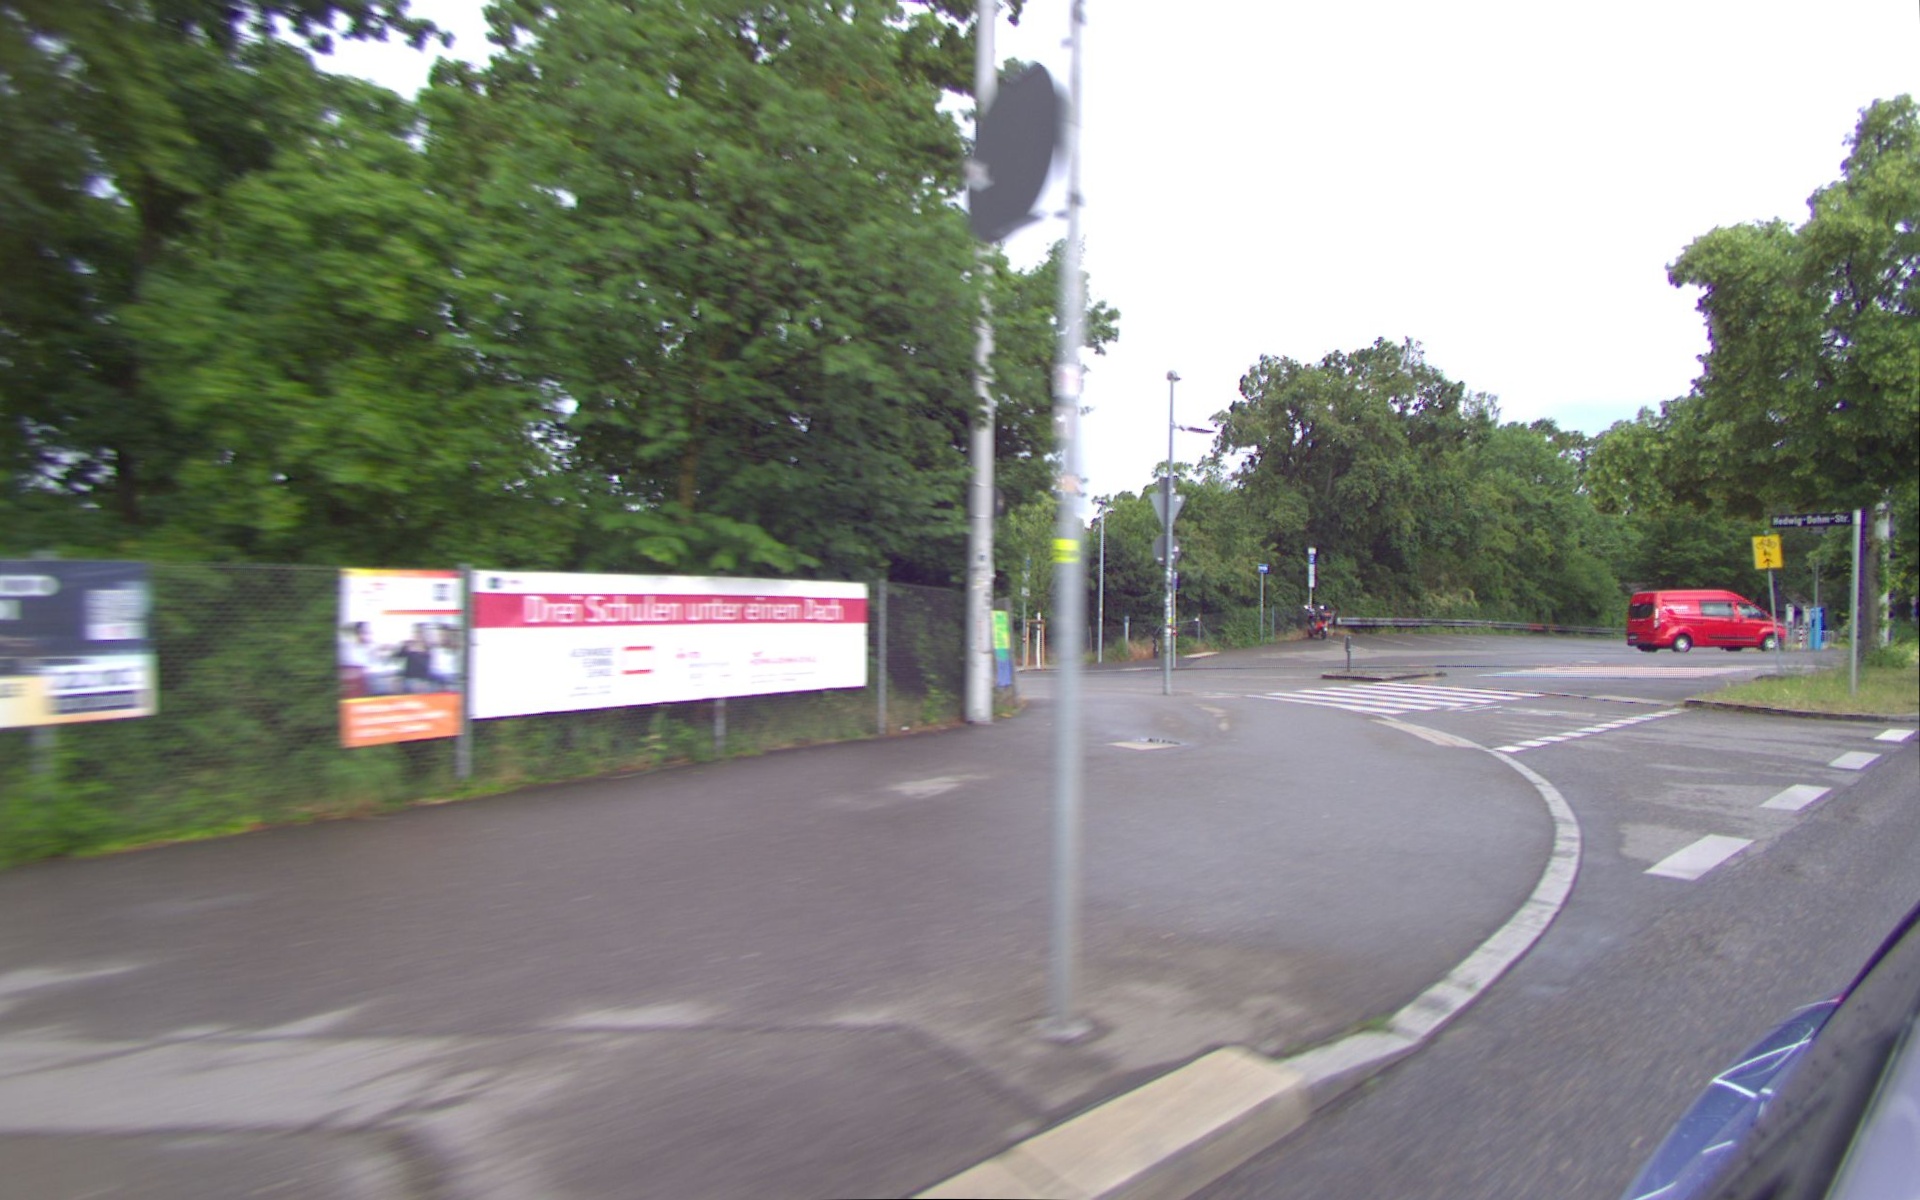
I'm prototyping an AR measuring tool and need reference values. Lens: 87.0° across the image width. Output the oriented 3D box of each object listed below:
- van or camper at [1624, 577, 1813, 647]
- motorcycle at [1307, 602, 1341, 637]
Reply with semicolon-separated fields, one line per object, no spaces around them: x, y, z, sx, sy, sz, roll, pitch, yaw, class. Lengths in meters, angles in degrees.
28.271;0.483;37.853;5.291;2.438;2.039;-1;-4;2;van or camper
14.353;0.742;39.997;0.464;1.228;2.027;-3;3;-3;motorcycle
